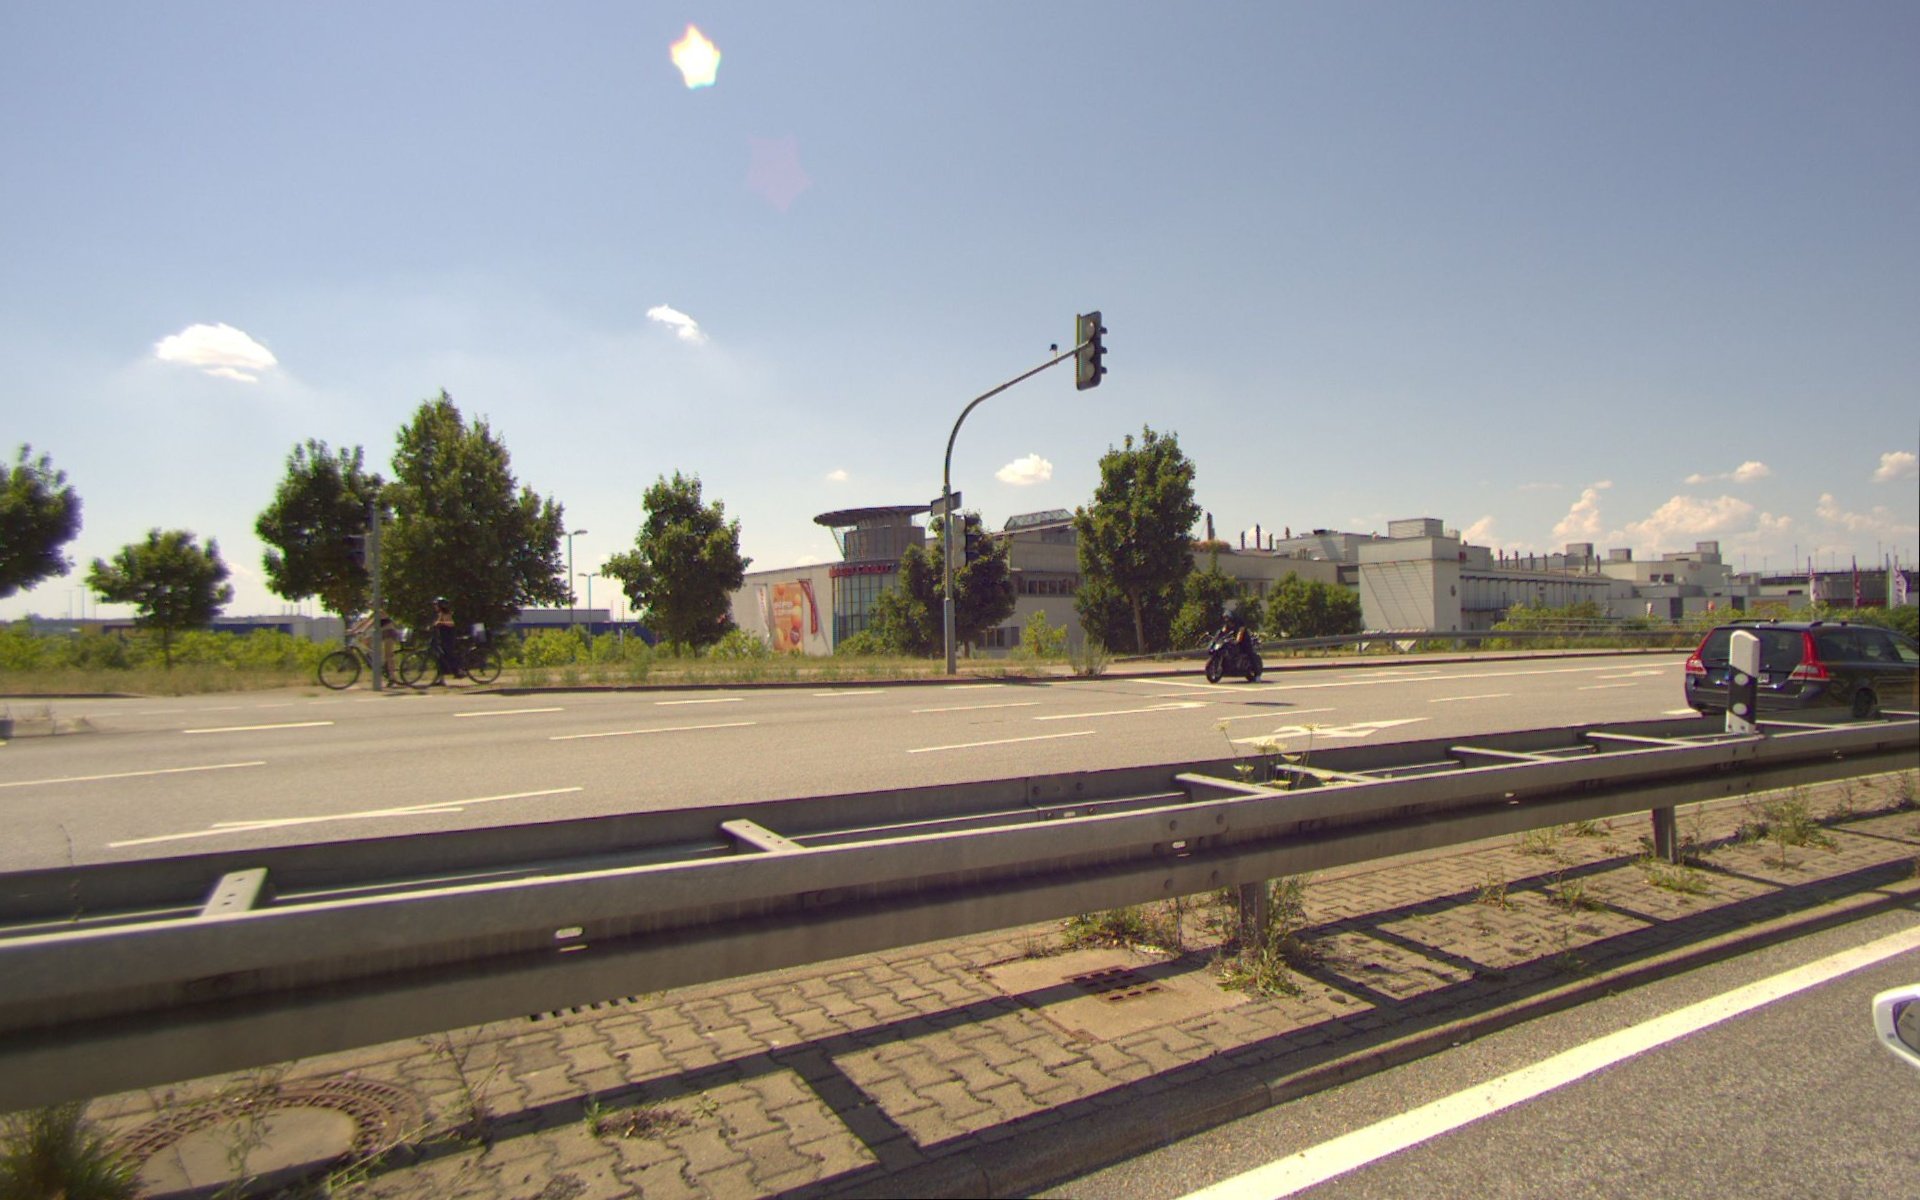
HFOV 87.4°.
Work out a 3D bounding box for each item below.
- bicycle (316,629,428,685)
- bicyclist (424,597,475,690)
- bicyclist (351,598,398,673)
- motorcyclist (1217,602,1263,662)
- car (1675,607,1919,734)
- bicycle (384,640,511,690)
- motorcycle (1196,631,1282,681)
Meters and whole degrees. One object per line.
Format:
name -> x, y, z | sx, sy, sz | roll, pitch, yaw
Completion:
bicycle -> -11.419, 1.089, 19.550 | 0.409, 1.038, 1.821 | 1, 0, 44
bicyclist -> -9.755, 0.815, 19.191 | 0.524, 1.740, 0.726 | 1, 0, 43
bicyclist -> -11.399, 0.681, 19.565 | 0.403, 1.423, 0.681 | 1, -1, 44
motorcyclist -> 6.328, 0.727, 22.715 | 0.716, 1.319, 0.670 | 1, -3, -35
car -> 12.392, 0.942, 14.156 | 4.670, 1.566, 1.726 | 1, -2, -25
bicycle -> -9.762, 1.224, 19.201 | 0.527, 0.864, 2.115 | 1, 0, 43
motorcycle -> 6.309, 1.249, 22.679 | 2.262, 1.094, 0.559 | 1, -3, -35
